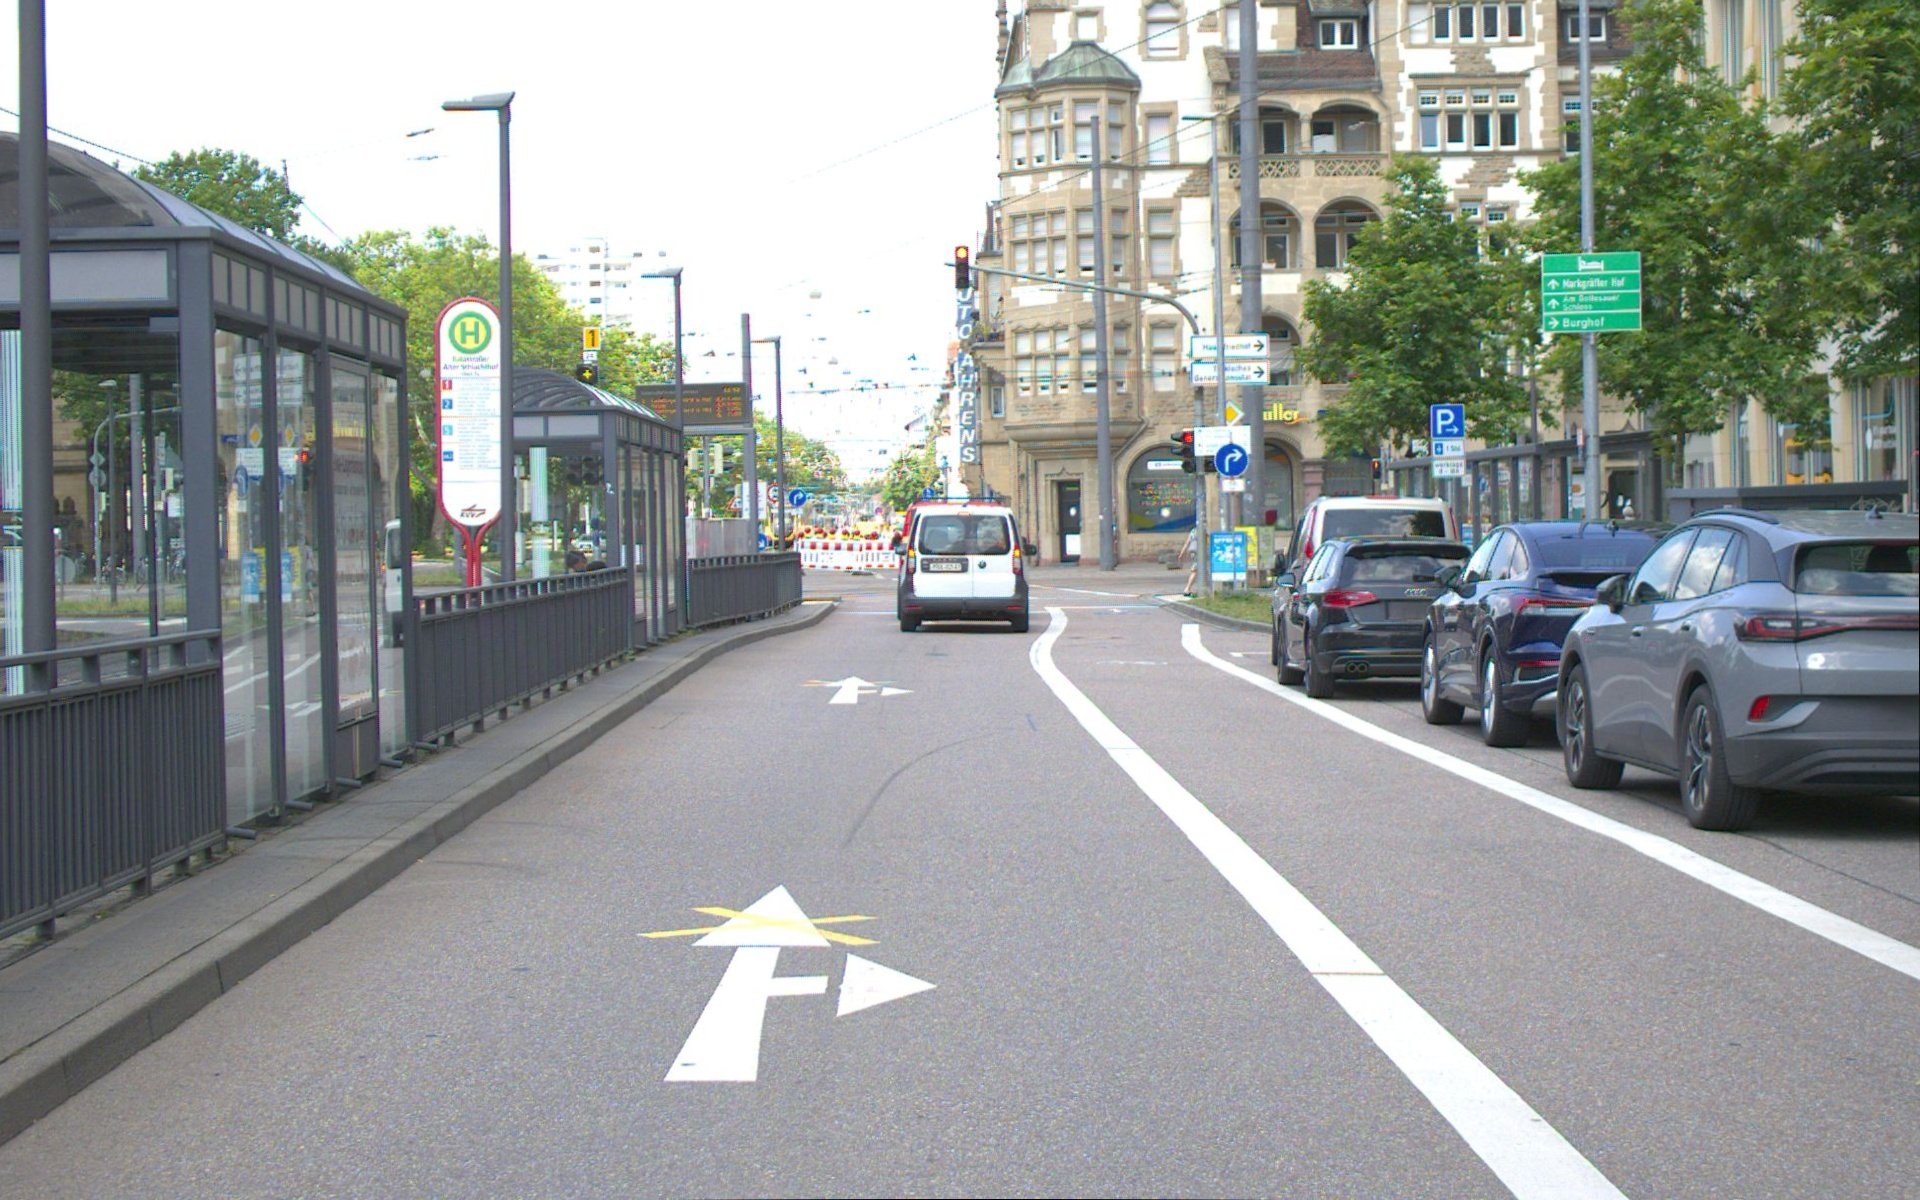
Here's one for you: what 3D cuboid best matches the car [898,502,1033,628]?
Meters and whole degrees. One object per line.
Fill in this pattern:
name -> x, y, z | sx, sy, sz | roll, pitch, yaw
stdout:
car -> 0.044, -0.542, 49.911 | 1.868, 1.740, 4.001 | 0, 2, -1

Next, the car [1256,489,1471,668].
car -> 4.196, -0.267, 36.212 | 1.709, 1.790, 3.362 | 0, 2, -3

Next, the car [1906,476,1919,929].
car -> 4.498, 0.453, 10.372 | 1.738, 1.663, 4.841 | 0, 2, -3

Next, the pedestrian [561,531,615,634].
pedestrian -> -4.262, -0.203, 39.391 | 0.513, 1.136, 0.501 | -3, 1, 0

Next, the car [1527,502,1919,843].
car -> 4.474, 0.275, 18.553 | 1.807, 1.586, 4.841 | 0, 2, -3

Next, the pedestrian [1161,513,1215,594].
pedestrian -> 4.495, -0.916, 67.738 | 0.805, 1.566, 0.629 | -3, 1, -17

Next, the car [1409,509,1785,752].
car -> 4.516, 0.147, 24.998 | 1.807, 1.586, 4.306 | 0, 2, -2

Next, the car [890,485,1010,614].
car -> -0.200, -0.848, 56.022 | 1.868, 2.013, 4.001 | 0, 1, -1

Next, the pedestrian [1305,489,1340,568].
pedestrian -> 7.320, -1.445, 69.447 | 0.534, 1.566, 0.542 | -3, 1, -2

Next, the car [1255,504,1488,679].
car -> 3.685, -0.127, 31.344 | 1.443, 1.465, 4.093 | 0, 2, -3
